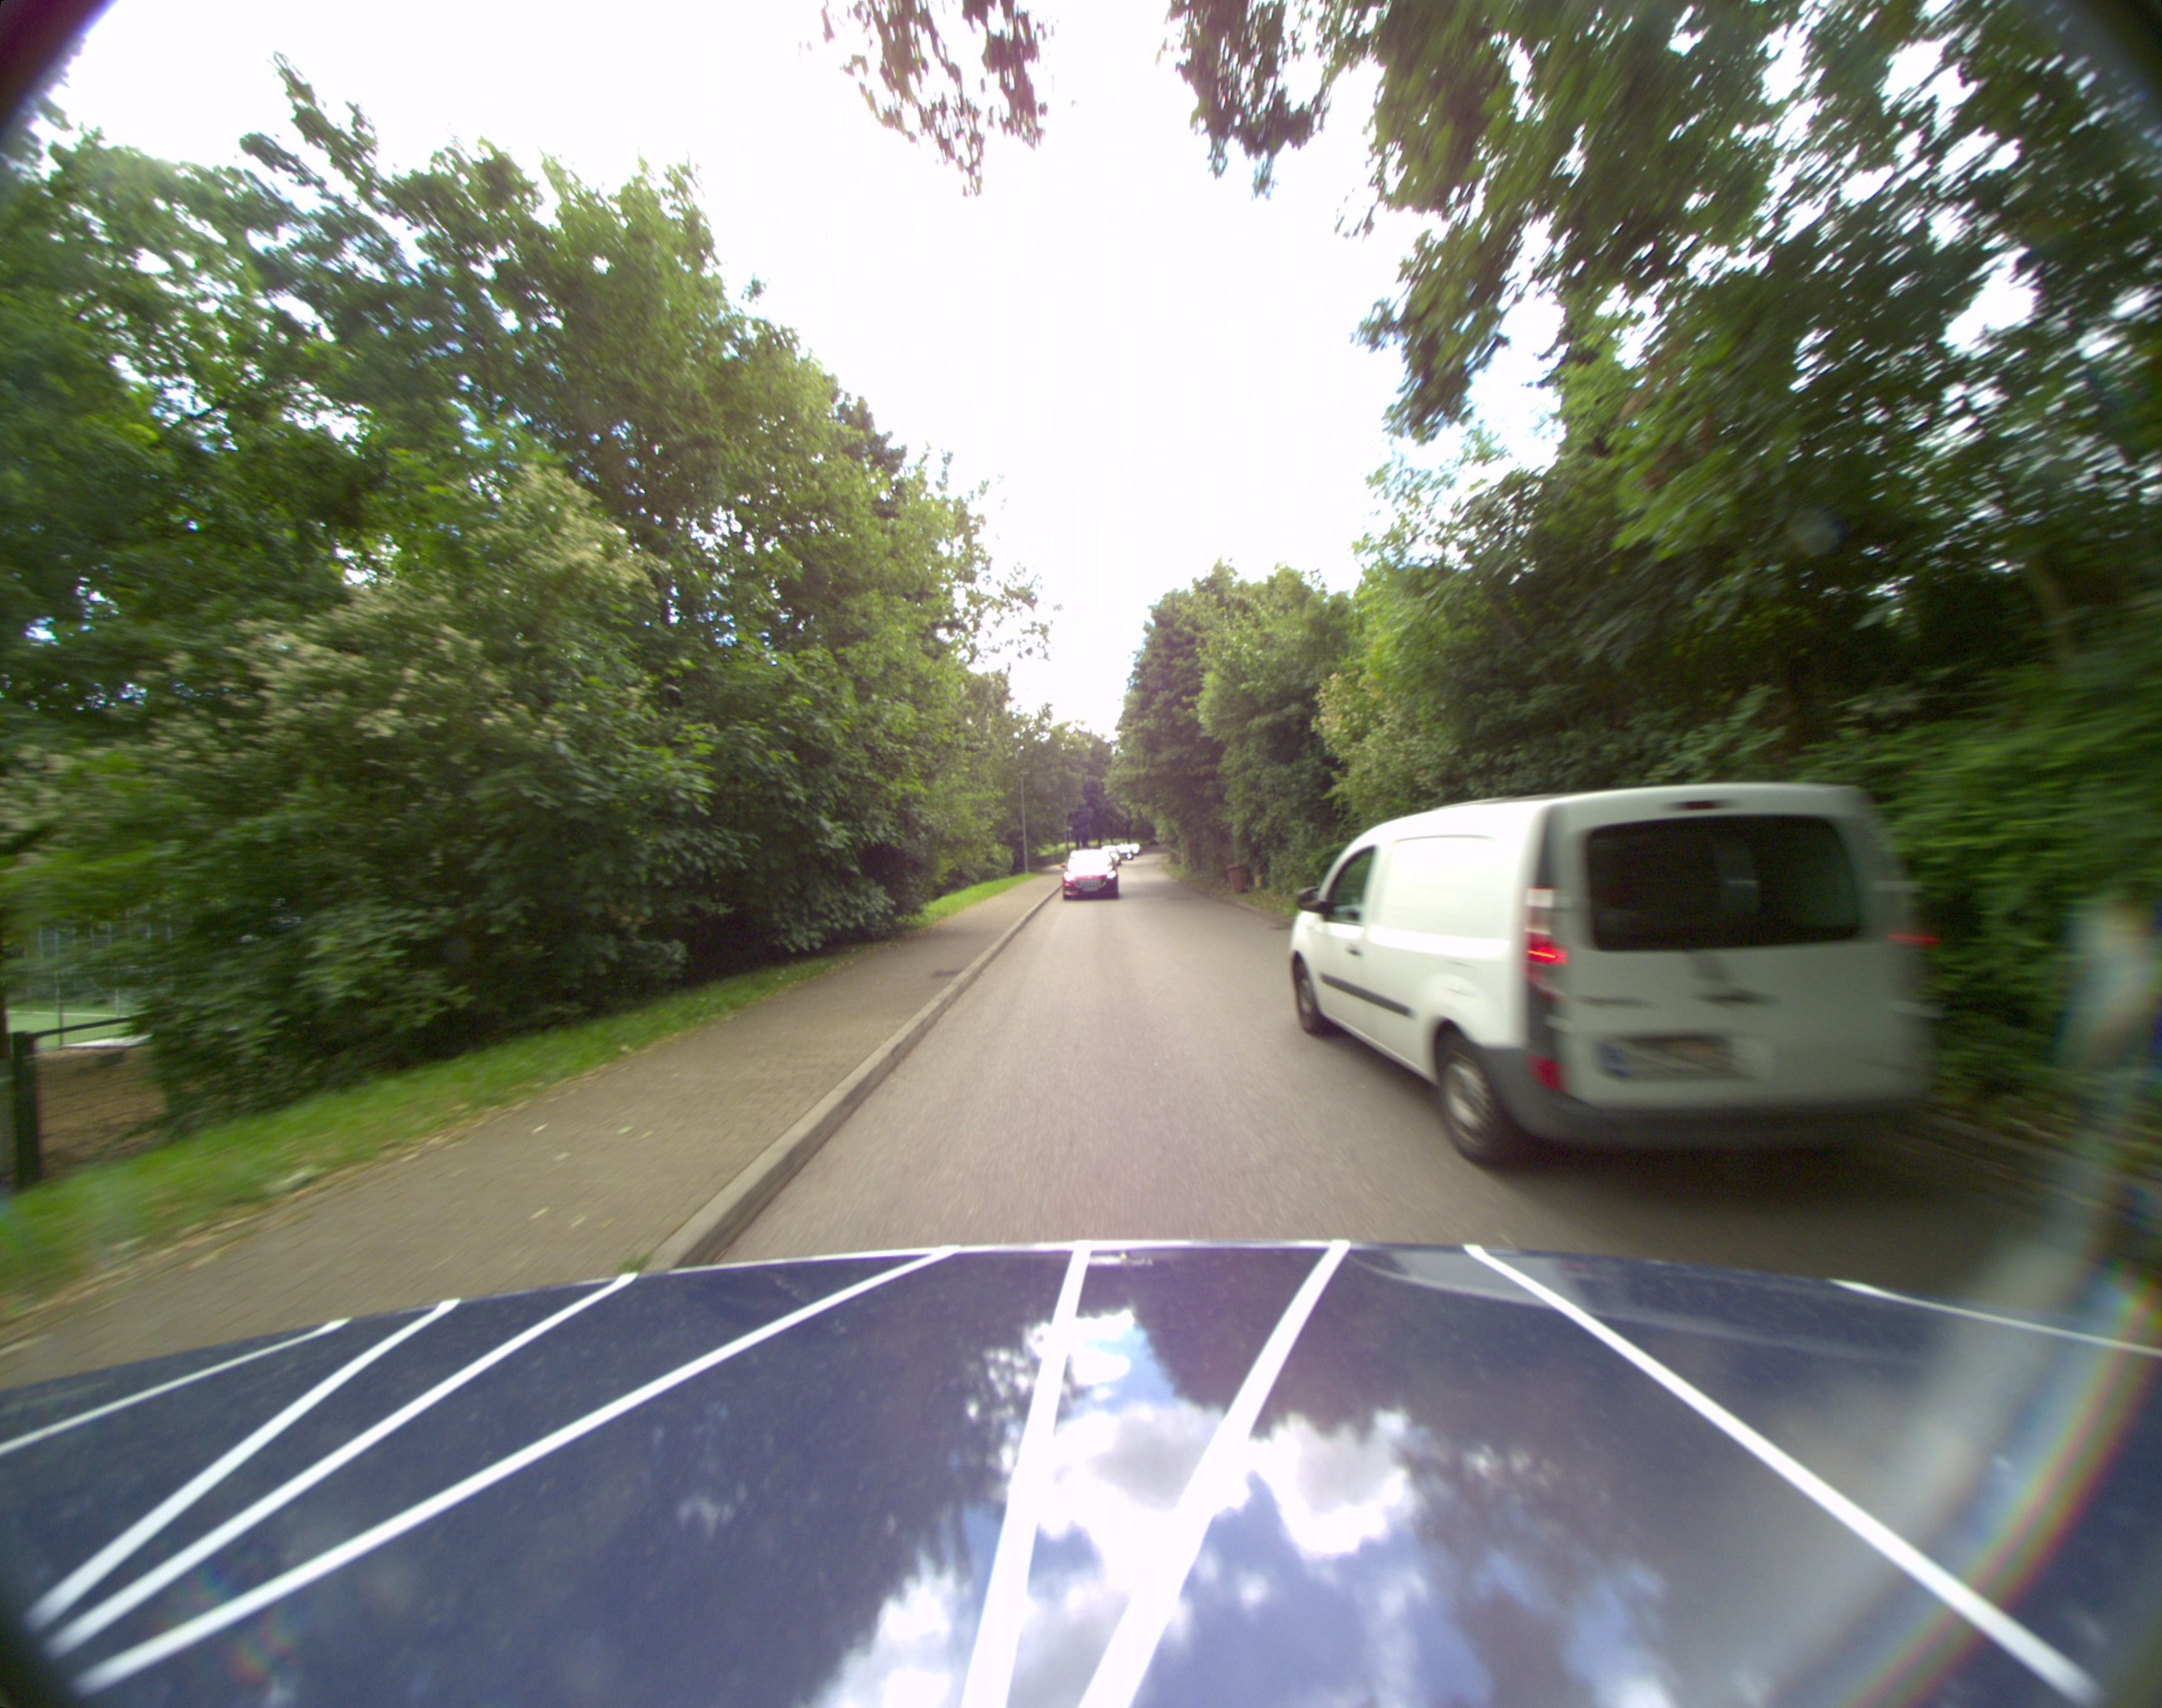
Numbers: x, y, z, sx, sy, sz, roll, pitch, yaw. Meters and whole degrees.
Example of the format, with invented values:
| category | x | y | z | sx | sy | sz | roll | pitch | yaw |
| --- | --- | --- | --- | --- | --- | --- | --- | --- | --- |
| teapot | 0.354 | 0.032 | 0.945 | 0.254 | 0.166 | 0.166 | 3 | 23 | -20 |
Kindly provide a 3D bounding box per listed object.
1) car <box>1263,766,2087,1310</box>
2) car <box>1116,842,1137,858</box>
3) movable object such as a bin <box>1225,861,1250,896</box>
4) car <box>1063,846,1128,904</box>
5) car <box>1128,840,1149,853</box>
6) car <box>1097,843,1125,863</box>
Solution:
| category | x | y | z | sx | sy | sz | roll | pitch | yaw |
| --- | --- | --- | --- | --- | --- | --- | --- | --- | --- |
| car | 2.676 | 0.629 | 4.940 | 1.877 | 1.903 | 4.430 | -2 | 1 | 0 |
| car | 4.810 | -0.448 | 79.761 | 1.997 | 1.521 | 4.001 | -2 | 1 | 6 |
| movable object such as a bin | 4.748 | 0.749 | 23.047 | 0.649 | 1.007 | 0.632 | -1 | 2 | 17 |
| car | 0.564 | 0.647 | 25.695 | 1.816 | 1.718 | 4.001 | -1 | 1 | 6 |
| car | 7.274 | -0.979 | 95.828 | 1.996 | 1.521 | 4.003 | -2 | 1 | 14 |
| car | 2.556 | -0.107 | 64.041 | 1.997 | 1.521 | 4.001 | -2 | 1 | 6 |
